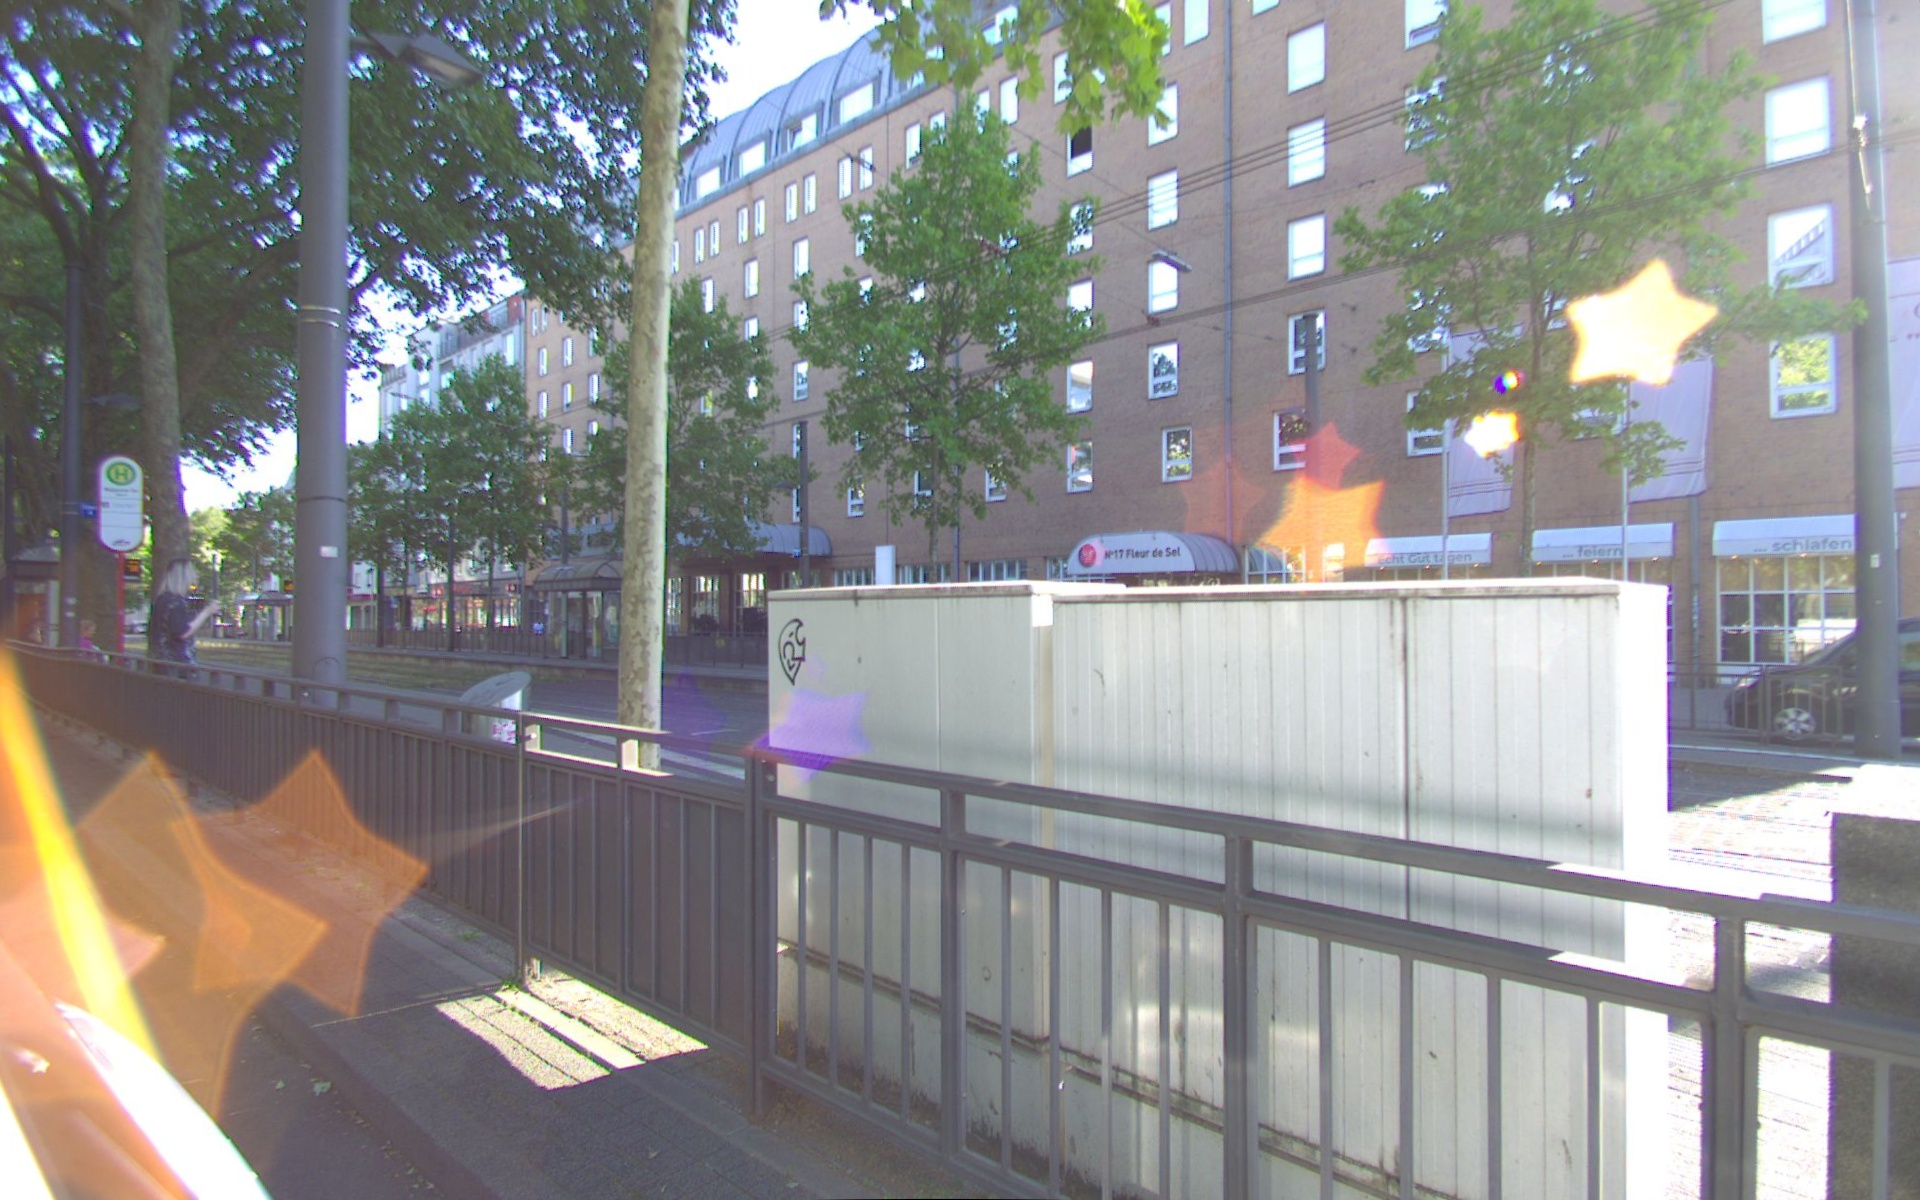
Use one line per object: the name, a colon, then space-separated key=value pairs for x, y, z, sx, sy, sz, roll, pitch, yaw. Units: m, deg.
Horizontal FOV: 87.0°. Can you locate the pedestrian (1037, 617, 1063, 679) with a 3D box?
pedestrian: x=2.577 y=1.371 z=28.946 sx=0.472 sy=1.748 sz=0.545 roll=1 pitch=-2 yaw=-42

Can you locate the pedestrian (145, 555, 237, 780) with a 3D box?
pedestrian: x=-6.585 y=0.550 z=8.667 sx=0.524 sy=1.848 sz=0.535 roll=-1 pitch=0 yaw=44

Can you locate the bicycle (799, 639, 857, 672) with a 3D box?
bicycle: x=-4.246 y=1.764 z=32.520 sx=1.897 sy=1.006 sz=0.688 roll=-1 pitch=-2 yaw=34

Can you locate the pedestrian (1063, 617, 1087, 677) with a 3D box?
pedestrian: x=3.342 y=1.362 z=29.483 sx=0.437 sy=1.748 sz=0.545 roll=1 pitch=-2 yaw=-42

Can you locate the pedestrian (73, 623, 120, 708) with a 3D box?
pedestrian: x=-13.931 y=1.038 z=16.340 sx=0.534 sy=1.327 sz=0.525 roll=-1 pitch=0 yaw=-37

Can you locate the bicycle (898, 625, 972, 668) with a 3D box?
bicycle: x=-0.741 y=1.339 z=29.118 sx=2.105 sy=1.151 sz=0.679 roll=-4 pitch=-4 yaw=34

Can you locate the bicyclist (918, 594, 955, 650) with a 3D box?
bicyclist: x=-0.675 y=0.642 z=29.094 sx=0.756 sy=1.572 sz=0.676 roll=-4 pitch=-4 yaw=33

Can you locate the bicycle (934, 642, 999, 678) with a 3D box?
bicycle: x=0.182 y=1.753 z=29.619 sx=1.897 sy=1.006 sz=0.647 roll=-1 pitch=-2 yaw=34

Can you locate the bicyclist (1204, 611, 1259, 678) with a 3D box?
bicyclist: x=6.143 y=0.993 z=22.869 sx=1.031 sy=1.485 sz=0.647 roll=-1 pitch=-1 yaw=36

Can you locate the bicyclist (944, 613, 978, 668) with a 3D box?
bicyclist: x=0.034 y=1.190 z=29.732 sx=0.756 sy=1.586 sz=0.655 roll=-1 pitch=-2 yaw=34

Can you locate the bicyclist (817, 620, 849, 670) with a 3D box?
bicyclist: x=-4.068 y=1.435 z=32.391 sx=0.756 sy=1.581 sz=0.655 roll=-1 pitch=-2 yaw=34

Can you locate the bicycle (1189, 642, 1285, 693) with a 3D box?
bicycle: x=6.230 y=1.499 z=22.816 sx=2.009 sy=1.058 sz=0.646 roll=-1 pitch=-1 yaw=37

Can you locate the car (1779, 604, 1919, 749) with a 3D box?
car: x=13.006 y=0.938 z=12.805 sx=3.999 sy=1.776 sz=1.848 roll=-1 pitch=0 yaw=42

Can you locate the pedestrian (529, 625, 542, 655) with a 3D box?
pedestrian: x=-24.631 y=2.320 z=58.754 sx=0.574 sy=1.748 sz=0.497 roll=-2 pitch=-2 yaw=43
